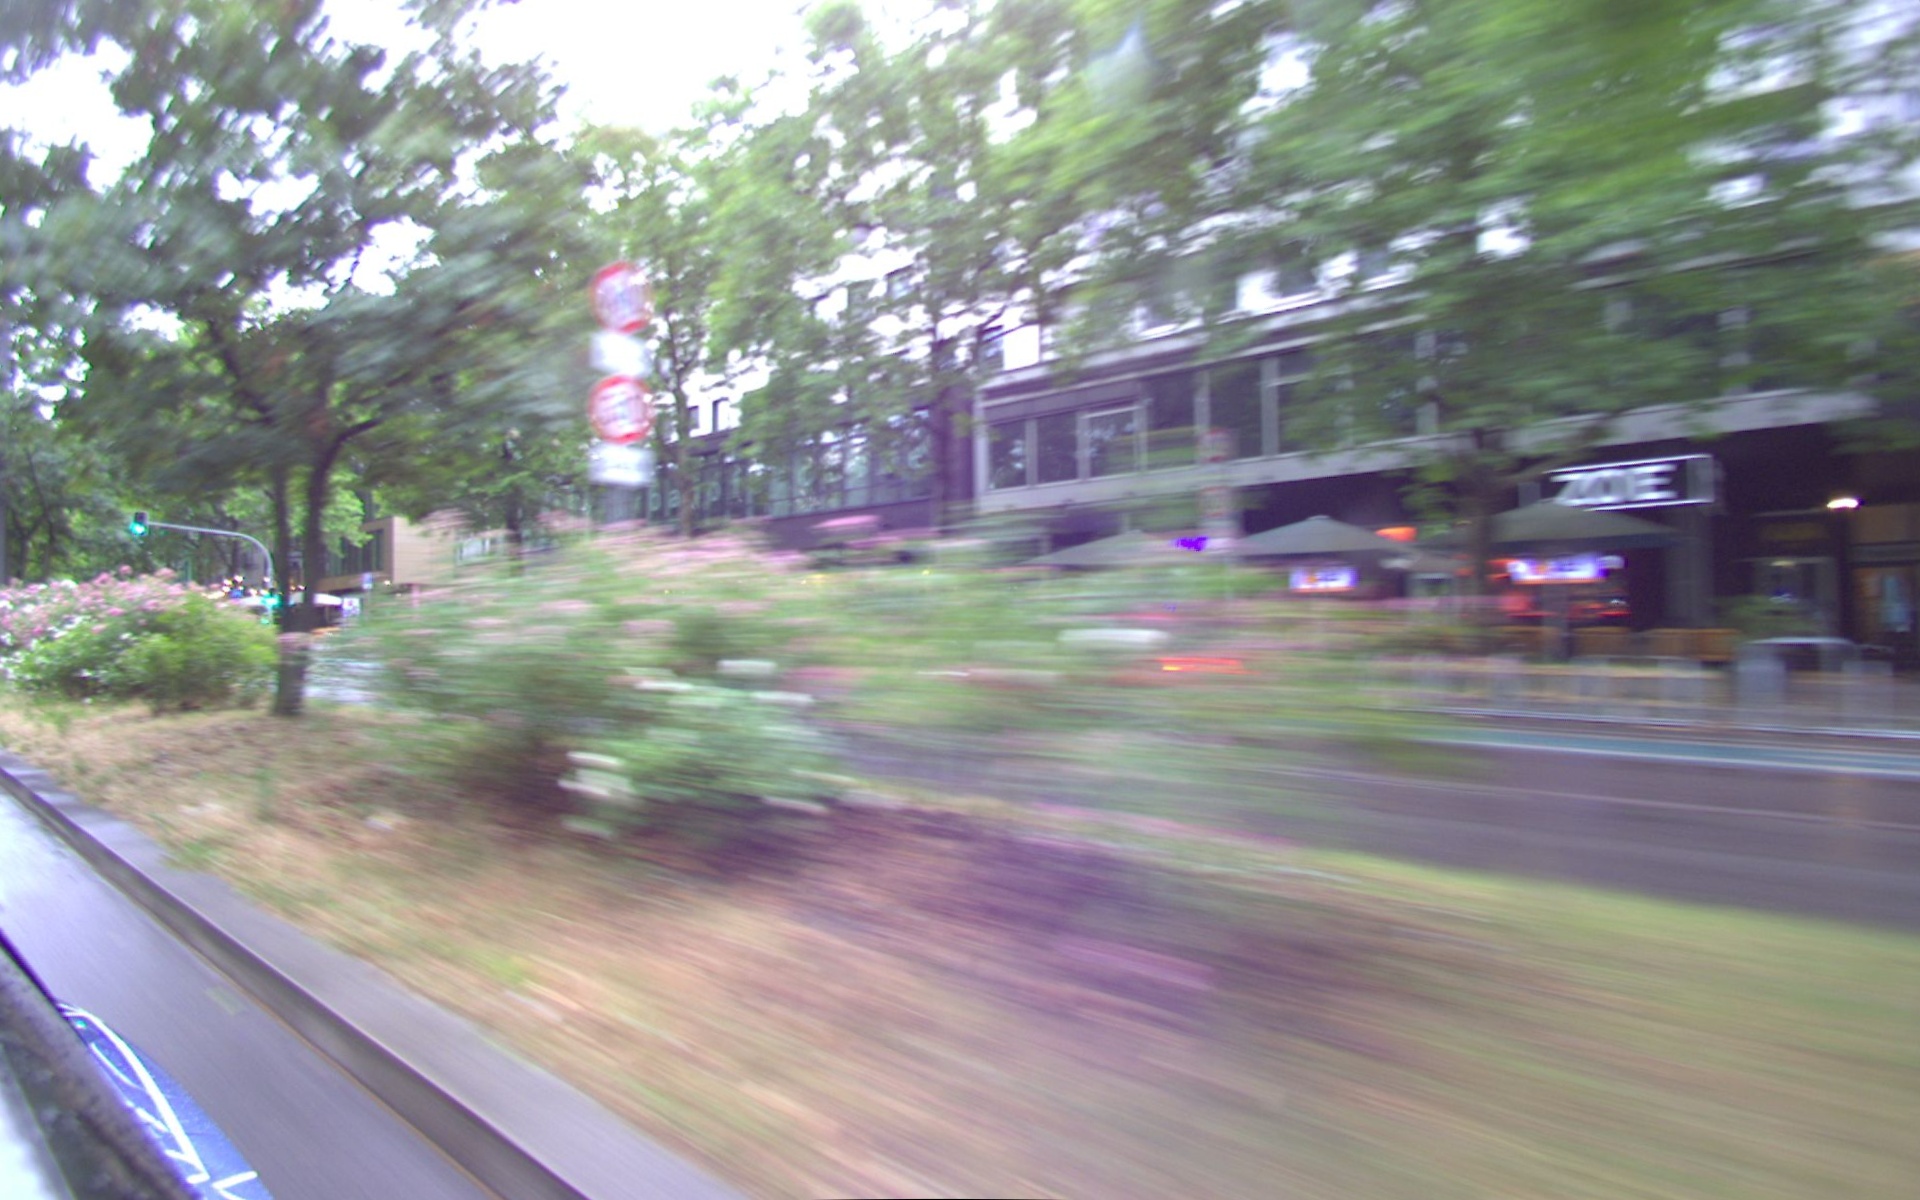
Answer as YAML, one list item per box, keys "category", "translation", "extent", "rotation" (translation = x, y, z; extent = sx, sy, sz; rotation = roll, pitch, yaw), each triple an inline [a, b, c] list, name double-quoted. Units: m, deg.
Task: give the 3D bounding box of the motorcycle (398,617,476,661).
- category: "motorcycle"
  translation: [-18.839, 1.385, 36.525]
  extent: [0.894, 1.400, 2.503]
  rotation: [-1, 1, 23]

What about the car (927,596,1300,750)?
- category: "car"
  translation: [1.637, 0.753, 11.695]
  extent: [4.033, 1.476, 1.620]
  rotation: [-2, -2, 41]

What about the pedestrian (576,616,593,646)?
- category: "pedestrian"
  translation: [-18.923, 1.563, 50.970]
  extent: [0.559, 1.476, 0.561]
  rotation: [-2, -1, 36]
